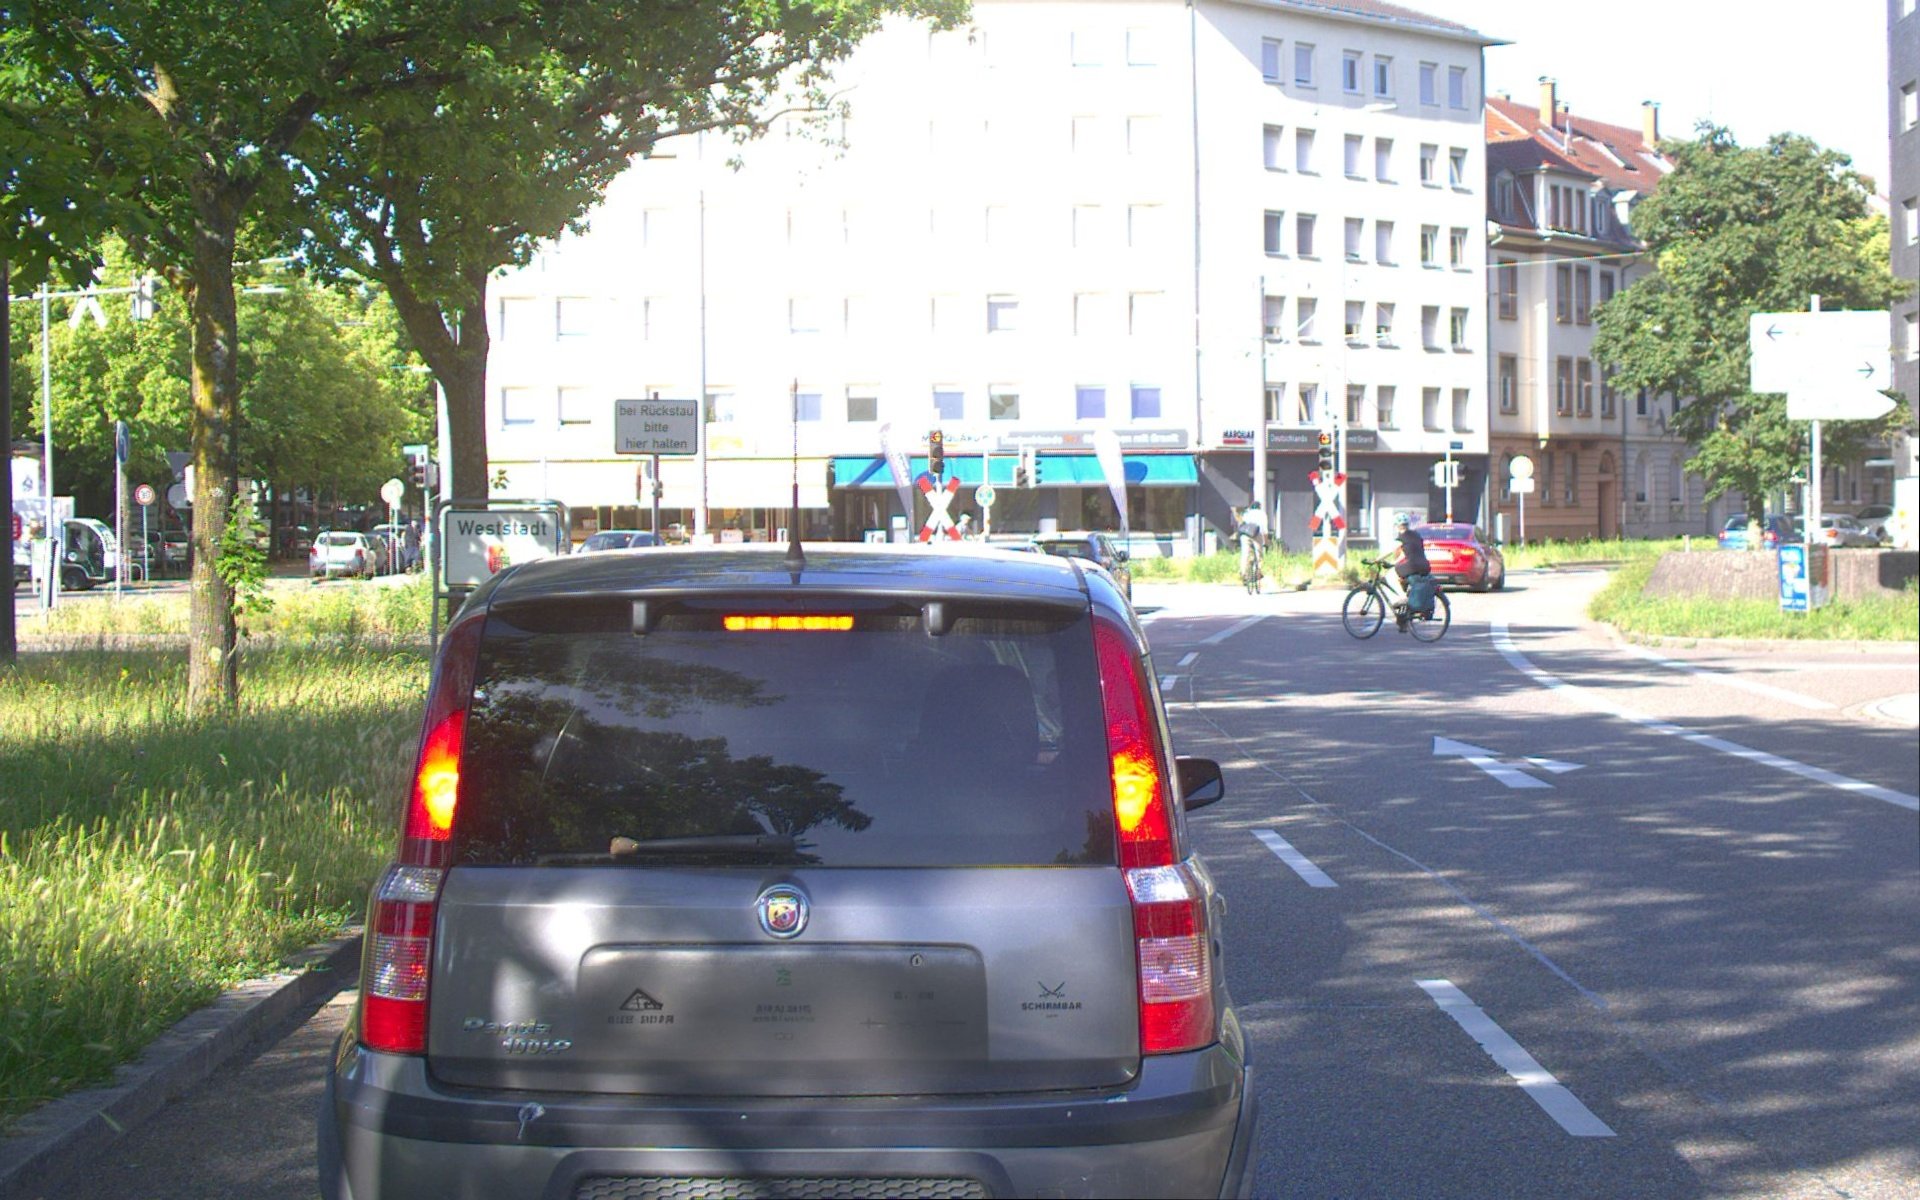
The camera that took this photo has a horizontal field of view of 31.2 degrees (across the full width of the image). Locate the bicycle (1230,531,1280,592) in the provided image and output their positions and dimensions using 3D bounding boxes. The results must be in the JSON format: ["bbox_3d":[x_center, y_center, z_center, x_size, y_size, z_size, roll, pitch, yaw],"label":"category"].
[{"bbox_3d":[5.968,-0.775,69.580,0.708,1.194,2.520,1,1,-2],"label":"bicycle"}]

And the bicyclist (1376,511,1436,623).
[{"bbox_3d":[6.013,-0.450,46.343,0.585,1.488,0.549,1,2,41],"label":"bicyclist"}]

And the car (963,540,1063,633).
[{"bbox_3d":[0.750,-0.212,49.602,1.356,1.277,2.876,0,1,-1],"label":"car"}]

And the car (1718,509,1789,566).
[{"bbox_3d":[20.881,-1.659,90.391,1.683,1.444,3.569,0,1,15],"label":"car"}]

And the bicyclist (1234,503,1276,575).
[{"bbox_3d":[5.964,-1.223,69.454,0.741,1.433,0.845,1,0,-1],"label":"bicyclist"}]

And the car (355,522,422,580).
[{"bbox_3d":[-20.515,-1.776,123.585,1.993,2.007,4.001,-1,1,-4],"label":"car"}]

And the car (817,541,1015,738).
[{"bbox_3d":[-0.344,0.267,27.286,1.463,1.420,3.381,0,2,-1],"label":"car"}]

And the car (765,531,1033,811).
[{"bbox_3d":[-0.357,0.355,20.680,1.463,1.503,3.505,0,2,-1],"label":"car"}]

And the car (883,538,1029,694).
[{"bbox_3d":[-0.058,0.122,33.864,1.356,1.444,3.266,-1,1,-1],"label":"car"}]

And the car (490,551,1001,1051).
[{"bbox_3d":[-0.639,0.558,11.641,1.463,1.396,3.393,0,1,-1],"label":"car"}]

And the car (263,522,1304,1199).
[{"bbox_3d":[-0.296,0.596,7.419,1.628,1.503,4.000,-1,1,-1],"label":"car"}]

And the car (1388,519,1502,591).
[{"bbox_3d":[10.078,-0.946,71.205,1.888,1.423,4.384,0,1,14],"label":"car"}]

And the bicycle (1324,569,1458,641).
[{"bbox_3d":[5.823,0.057,46.525,1.794,0.942,0.559,1,2,42],"label":"bicycle"}]

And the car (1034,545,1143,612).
[{"bbox_3d":[2.172,-0.369,57.670,1.143,1.060,2.719,0,1,17],"label":"car"}]

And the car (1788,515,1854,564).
[{"bbox_3d":[23.558,-1.663,94.019,1.528,1.310,3.285,0,1,18],"label":"car"}]
